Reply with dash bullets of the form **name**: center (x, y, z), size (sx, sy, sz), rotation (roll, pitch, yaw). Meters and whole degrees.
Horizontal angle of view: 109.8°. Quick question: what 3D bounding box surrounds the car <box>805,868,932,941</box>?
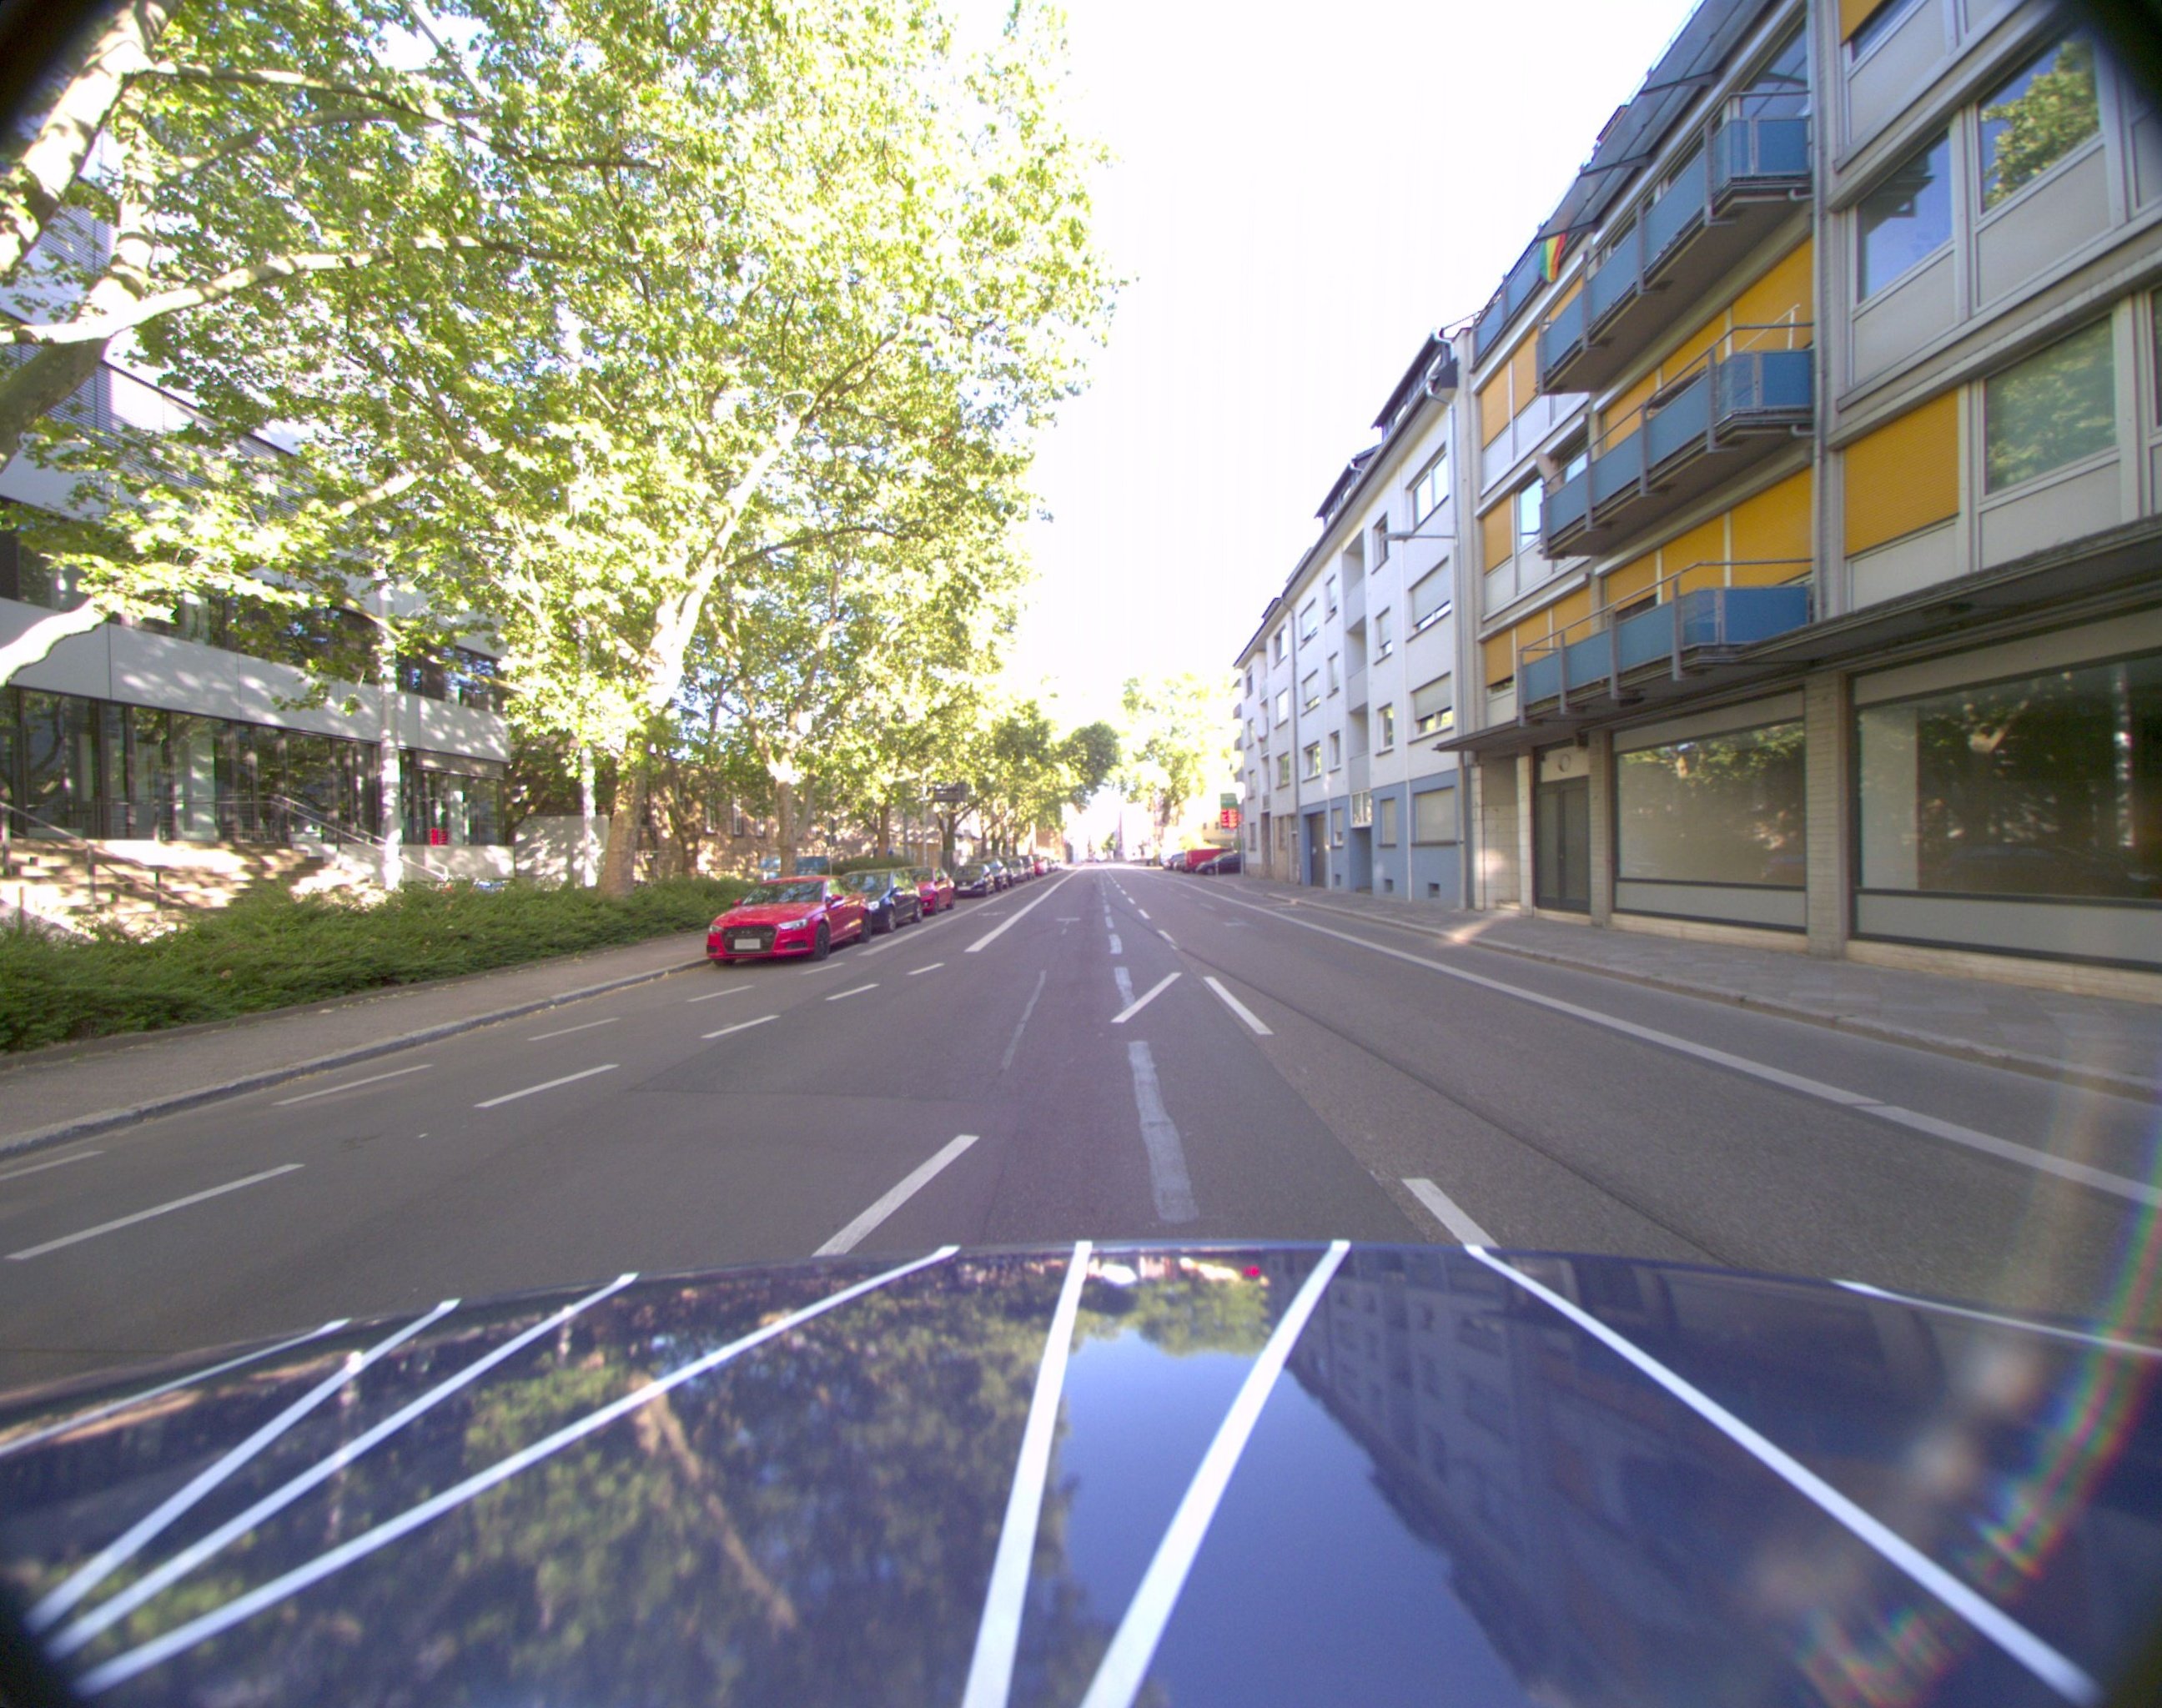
- **car**: center (-5.000, 1.125, 18.448), size (1.813, 1.449, 4.000), rotation (-1, 0, 2)

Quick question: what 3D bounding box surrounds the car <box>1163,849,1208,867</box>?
- **car**: center (10.078, 0.377, 73.351), size (3.998, 1.618, 1.702), rotation (-2, 1, -5)

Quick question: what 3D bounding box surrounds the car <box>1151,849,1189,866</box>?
- **car**: center (9.482, 0.376, 80.849), size (3.728, 1.579, 1.743), rotation (-2, 1, -5)

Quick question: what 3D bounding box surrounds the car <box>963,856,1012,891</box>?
- **car**: center (-4.626, 0.925, 38.198), size (1.848, 1.572, 4.232), rotation (-2, 0, 1)

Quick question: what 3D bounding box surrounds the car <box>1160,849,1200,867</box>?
- **car**: center (9.876, 0.383, 75.899), size (3.658, 1.578, 1.659), rotation (-2, 1, -5)

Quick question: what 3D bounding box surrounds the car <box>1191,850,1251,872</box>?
- **car**: center (10.063, 0.511, 54.774), size (3.997, 1.385, 1.781), rotation (-2, 1, -1)

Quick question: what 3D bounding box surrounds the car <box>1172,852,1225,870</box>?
- **car**: center (9.659, 0.586, 62.809), size (4.033, 1.265, 1.906), rotation (-2, 1, -1)

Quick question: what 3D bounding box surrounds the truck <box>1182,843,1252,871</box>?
- **truck**: center (10.724, 0.240, 60.085), size (5.088, 2.009, 2.000), rotation (-2, 1, 0)

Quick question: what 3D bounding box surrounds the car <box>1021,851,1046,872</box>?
- **car**: center (-4.111, 0.620, 66.169), size (1.876, 1.685, 4.166), rotation (-1, 0, 1)

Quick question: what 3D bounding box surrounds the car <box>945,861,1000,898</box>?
- **car**: center (-4.680, 1.086, 33.252), size (1.745, 1.430, 4.000), rotation (-1, 0, 1)

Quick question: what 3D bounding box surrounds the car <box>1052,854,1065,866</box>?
- **car**: center (-3.026, 0.823, 102.852), size (1.707, 1.459, 3.809), rotation (-1, 0, 0)

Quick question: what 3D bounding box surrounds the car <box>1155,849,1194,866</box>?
- **car**: center (9.612, 0.380, 78.557), size (3.703, 1.573, 1.718), rotation (-2, 1, -5)

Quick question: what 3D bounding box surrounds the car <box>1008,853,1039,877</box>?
- **car**: center (-4.172, 0.755, 55.499), size (1.831, 1.608, 4.177), rotation (-1, 0, 1)

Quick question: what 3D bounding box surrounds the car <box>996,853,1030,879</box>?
- **car**: center (-4.444, 0.743, 50.442), size (1.798, 1.608, 4.075), rotation (-1, 0, 1)

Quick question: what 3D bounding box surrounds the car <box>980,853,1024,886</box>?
- **car**: center (-4.548, 0.872, 44.181), size (1.998, 1.715, 4.262), rotation (-2, 1, 1)

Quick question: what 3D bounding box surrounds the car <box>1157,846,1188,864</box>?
- **car**: center (10.228, 0.109, 85.255), size (3.267, 1.927, 1.693), rotation (-2, 1, 2)

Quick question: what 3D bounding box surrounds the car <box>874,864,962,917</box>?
- **car**: center (-4.963, 1.068, 23.711), size (1.790, 1.429, 4.000), rotation (-1, 0, 1)

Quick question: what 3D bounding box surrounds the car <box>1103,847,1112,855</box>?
- **car**: center (6.762, -0.792, 193.450), size (1.998, 2.002, 3.999), rotation (-2, 1, 1)

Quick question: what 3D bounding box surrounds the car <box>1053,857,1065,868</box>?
- **car**: center (-2.631, 1.033, 92.446), size (1.300, 1.220, 3.241), rotation (-1, 0, 0)

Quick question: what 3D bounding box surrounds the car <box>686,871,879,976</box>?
- **car**: center (-5.108, 1.112, 13.699), size (1.775, 1.416, 4.173), rotation (-3, 0, 0)
